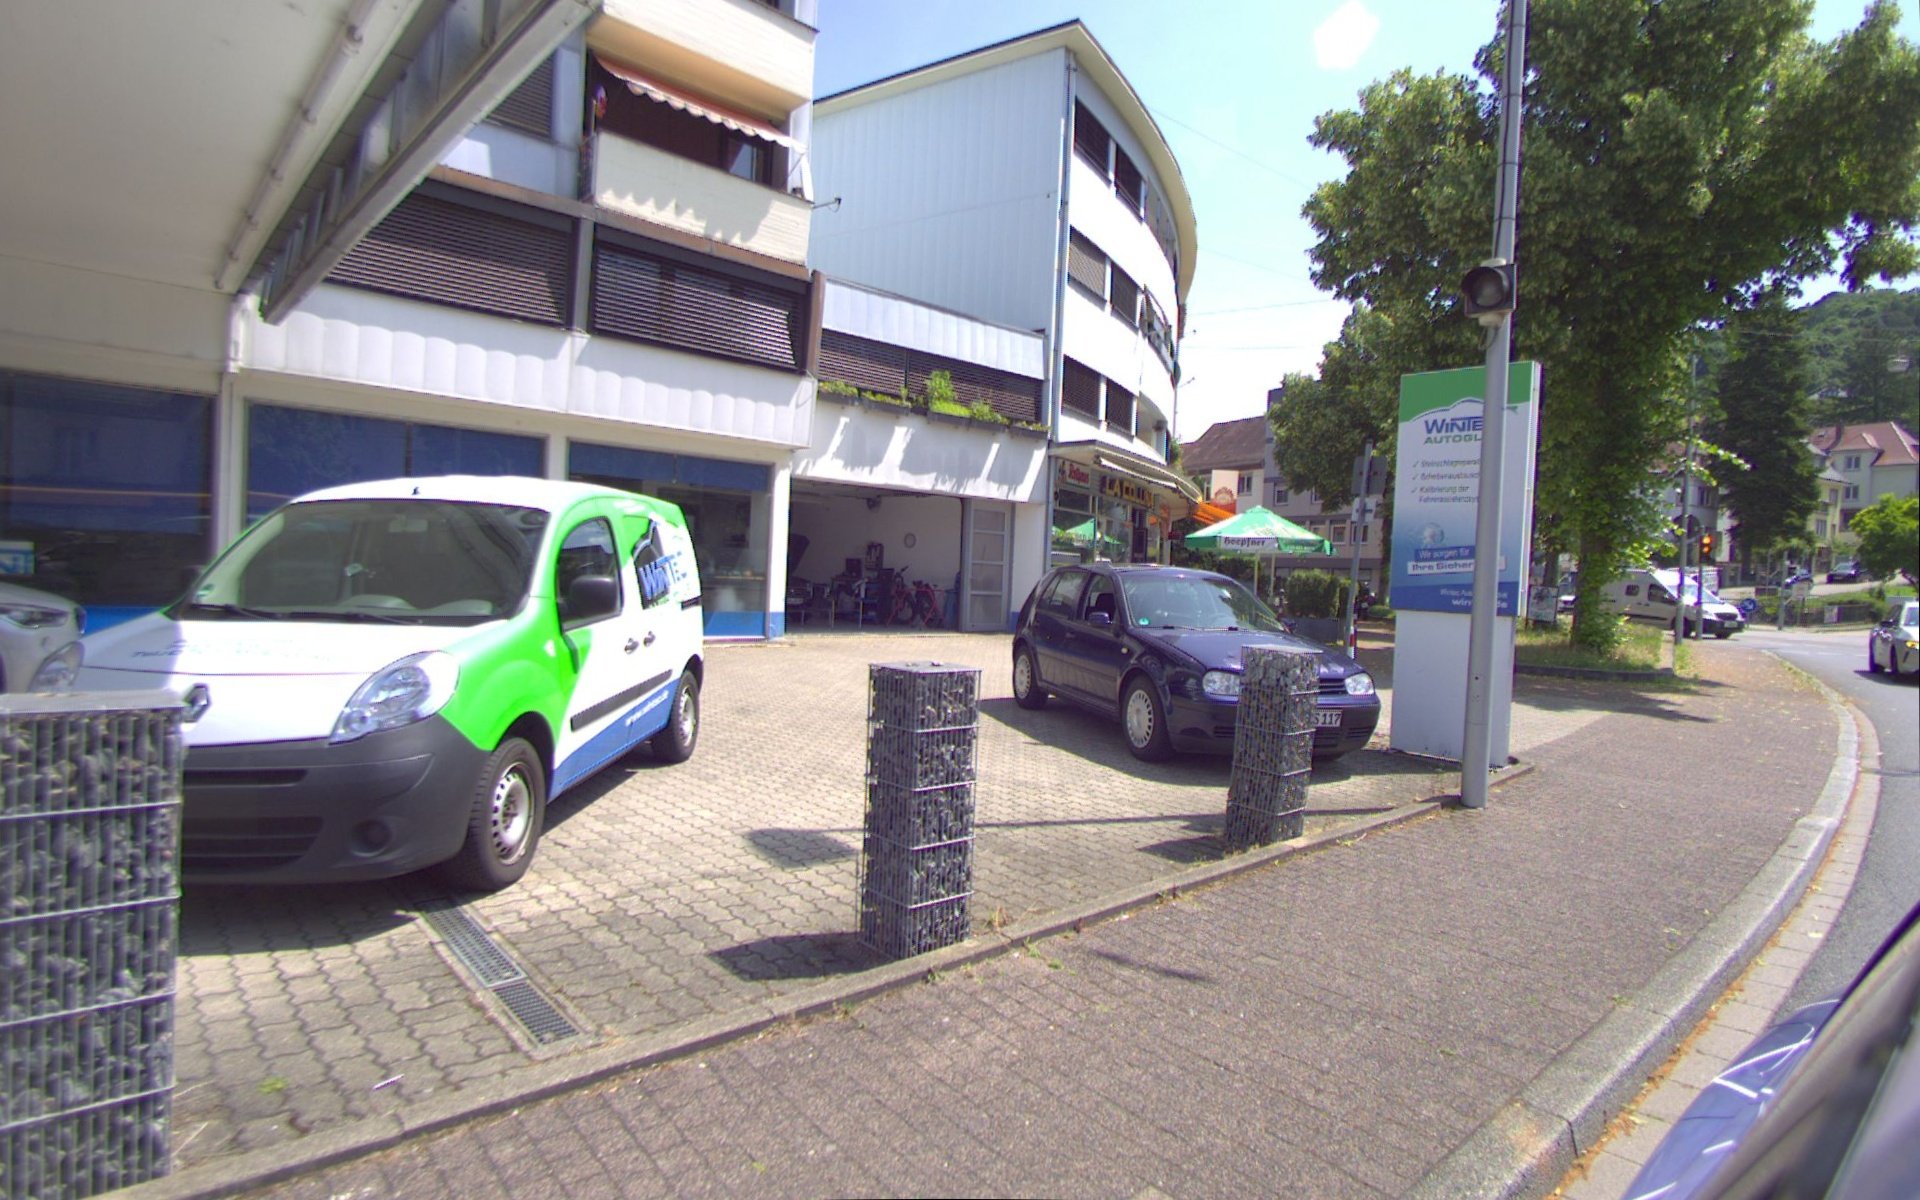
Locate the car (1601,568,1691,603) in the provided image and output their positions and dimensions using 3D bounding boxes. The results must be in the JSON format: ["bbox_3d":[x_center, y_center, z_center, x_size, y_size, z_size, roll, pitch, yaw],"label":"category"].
[{"bbox_3d":[40.761,-0.886,60.102,5.274,2.039,2.405,-1,1,-30],"label":"car"}]

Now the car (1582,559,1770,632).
[{"bbox_3d":[24.274,-0.202,34.635,1.959,2.300,5.454,0,1,-9],"label":"car"}]

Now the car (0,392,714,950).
[{"bbox_3d":[-2.677,0.191,5.440,1.788,1.812,4.292,0,1,-2],"label":"car"}]

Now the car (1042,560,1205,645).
[{"bbox_3d":[3.205,-0.012,19.134,1.699,1.417,4.239,2,2,29],"label":"car"}]

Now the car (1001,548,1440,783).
[{"bbox_3d":[1.814,0.331,8.466,1.664,1.446,3.984,1,3,-17],"label":"car"}]

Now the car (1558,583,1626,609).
[{"bbox_3d":[35.756,-0.237,57.257,4.073,1.386,1.534,-1,1,-30],"label":"car"}]

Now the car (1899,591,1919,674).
[{"bbox_3d":[18.332,0.566,18.360,1.813,1.396,4.325,2,2,42],"label":"car"}]

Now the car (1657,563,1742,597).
[{"bbox_3d":[46.372,-1.252,63.456,5.274,2.039,2.405,-1,1,-30],"label":"car"}]

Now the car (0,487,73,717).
[{"bbox_3d":[-8.930,-0.025,6.626,4.622,1.646,1.750,0,2,-40],"label":"car"}]
